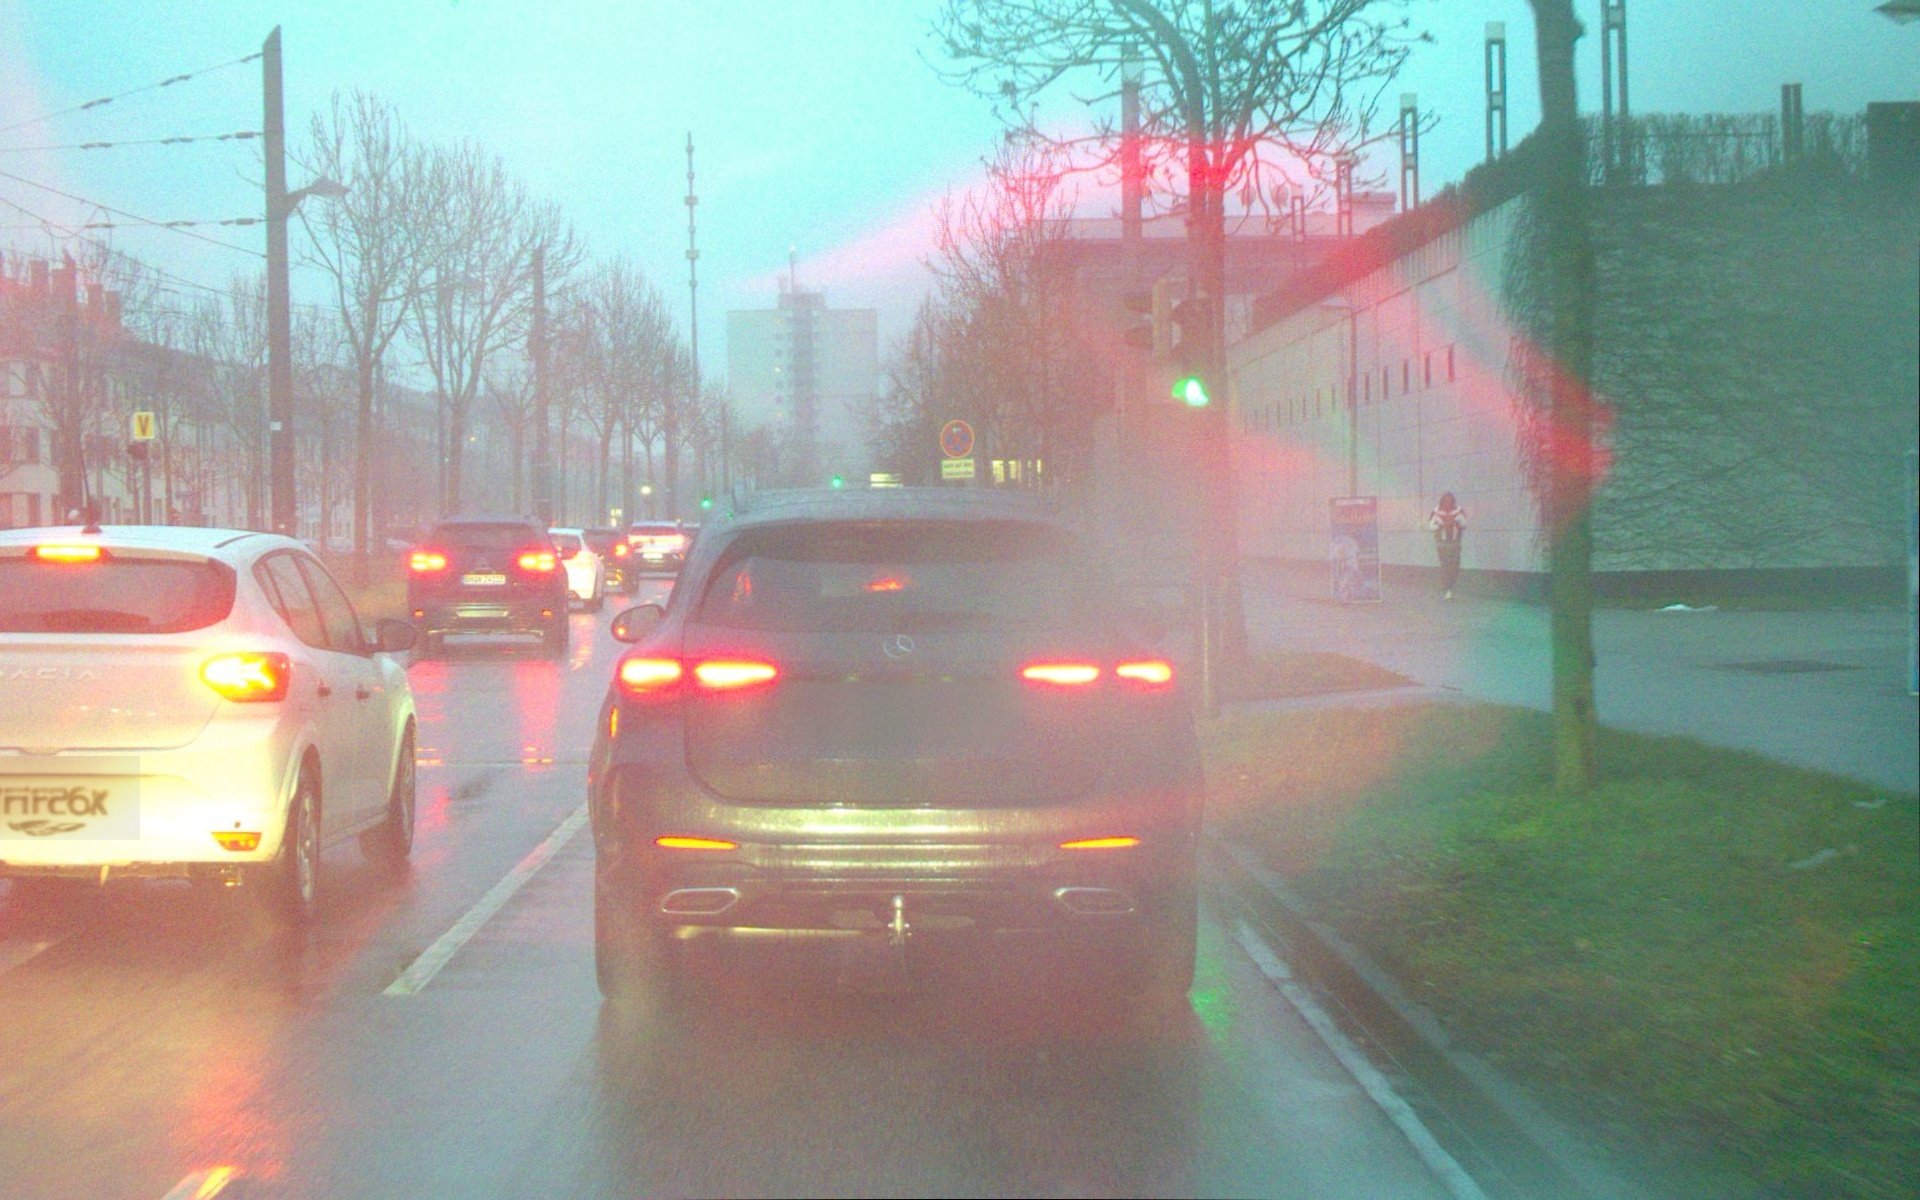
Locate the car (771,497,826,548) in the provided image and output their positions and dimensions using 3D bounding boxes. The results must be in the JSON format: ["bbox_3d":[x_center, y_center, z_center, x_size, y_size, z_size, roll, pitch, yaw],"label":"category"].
[{"bbox_3d":[-6.635,-3.210,141.544,1.993,2.007,4.000,-1,1,0],"label":"car"}]

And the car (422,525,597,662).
[{"bbox_3d":[-5.461,-0.115,42.049,1.672,1.594,4.054,0,1,-1],"label":"car"}]

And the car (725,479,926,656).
[{"bbox_3d":[-1.375,-0.370,36.529,1.993,1.738,4.000,-1,1,-1],"label":"car"}]

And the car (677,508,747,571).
[{"bbox_3d":[-8.185,-1.975,113.750,1.993,2.007,4.000,1,0,0],"label":"car"}]

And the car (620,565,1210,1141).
[{"bbox_3d":[-0.158,0.701,11.790,1.672,1.594,4.054,0,1,-1],"label":"car"}]

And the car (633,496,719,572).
[{"bbox_3d":[-7.777,-1.786,94.378,1.993,2.007,4.000,1,0,0],"label":"car"}]

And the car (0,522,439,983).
[{"bbox_3d":[-3.226,0.487,13.926,1.672,1.594,4.054,0,1,-1],"label":"car"}]

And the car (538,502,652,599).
[{"bbox_3d":[-7.869,-1.064,74.369,1.993,2.007,4.000,1,0,0],"label":"car"}]

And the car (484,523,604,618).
[{"bbox_3d":[-7.248,-0.536,60.153,1.672,1.594,4.054,0,1,-1],"label":"car"}]

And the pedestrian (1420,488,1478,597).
[{"bbox_3d":[7.355,-0.871,51.749,0.621,1.605,1.067,-1,1,-5],"label":"pedestrian"}]
